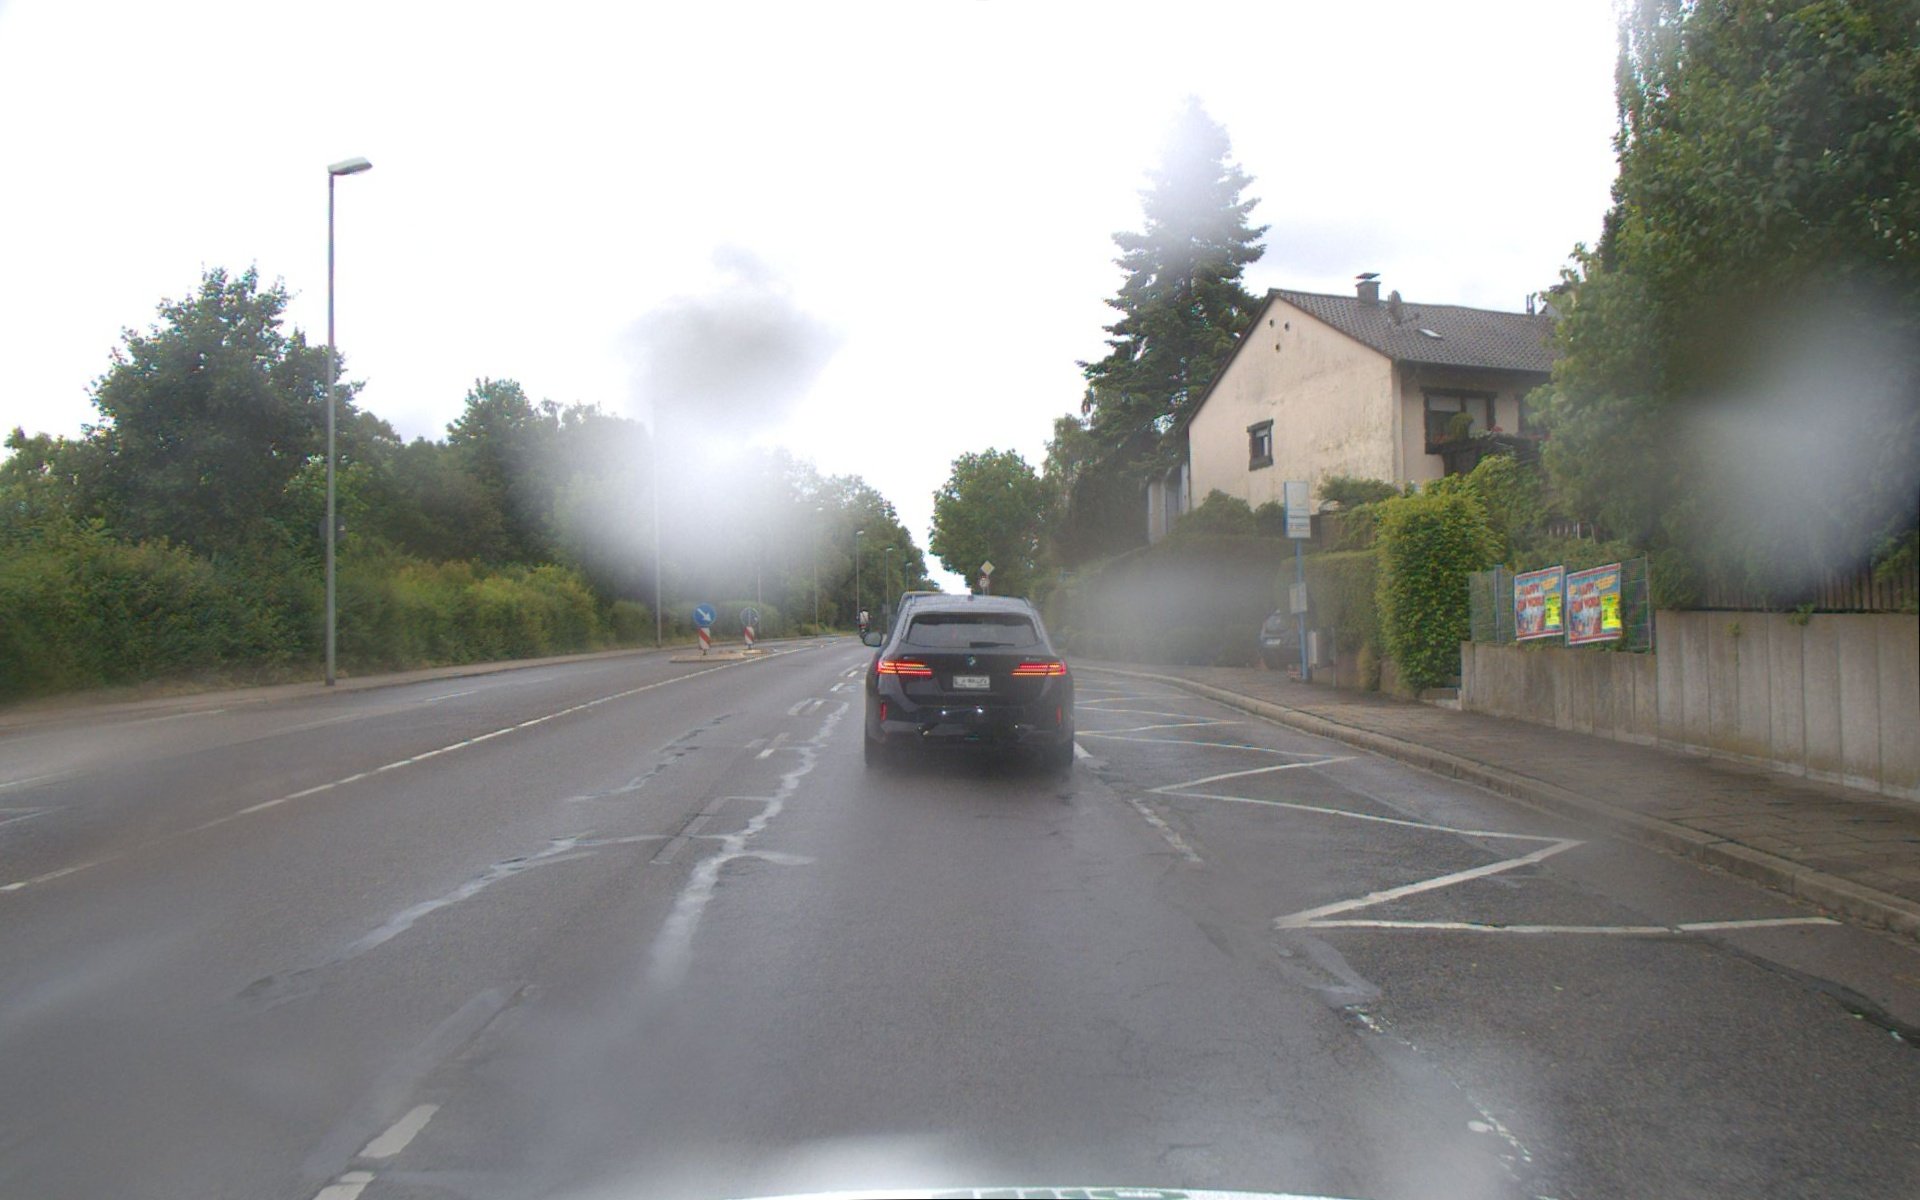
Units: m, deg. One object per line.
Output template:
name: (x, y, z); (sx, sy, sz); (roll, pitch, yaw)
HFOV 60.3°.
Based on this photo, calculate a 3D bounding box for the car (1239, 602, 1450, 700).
car: (7.603, 1.027, 32.751); (3.646, 1.320, 1.761); (11, -6, -21)

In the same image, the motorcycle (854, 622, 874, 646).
motorcycle: (-4.751, 1.665, 81.852); (0.858, 1.144, 2.740); (1, -1, -1)

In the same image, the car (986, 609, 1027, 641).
car: (2.226, 1.186, 80.269); (1.895, 1.467, 4.408); (-1, 0, 1)

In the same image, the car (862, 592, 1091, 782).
car: (0.131, 0.728, 15.614); (1.858, 1.515, 3.999); (1, 0, 0)

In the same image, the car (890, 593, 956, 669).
car: (-0.961, 0.767, 43.322); (1.596, 1.865, 3.999); (-1, 0, -1)

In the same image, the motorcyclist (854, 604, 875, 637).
motorcyclist: (-4.723, 1.001, 81.870); (1.018, 1.595, 0.855); (1, -1, -2)
